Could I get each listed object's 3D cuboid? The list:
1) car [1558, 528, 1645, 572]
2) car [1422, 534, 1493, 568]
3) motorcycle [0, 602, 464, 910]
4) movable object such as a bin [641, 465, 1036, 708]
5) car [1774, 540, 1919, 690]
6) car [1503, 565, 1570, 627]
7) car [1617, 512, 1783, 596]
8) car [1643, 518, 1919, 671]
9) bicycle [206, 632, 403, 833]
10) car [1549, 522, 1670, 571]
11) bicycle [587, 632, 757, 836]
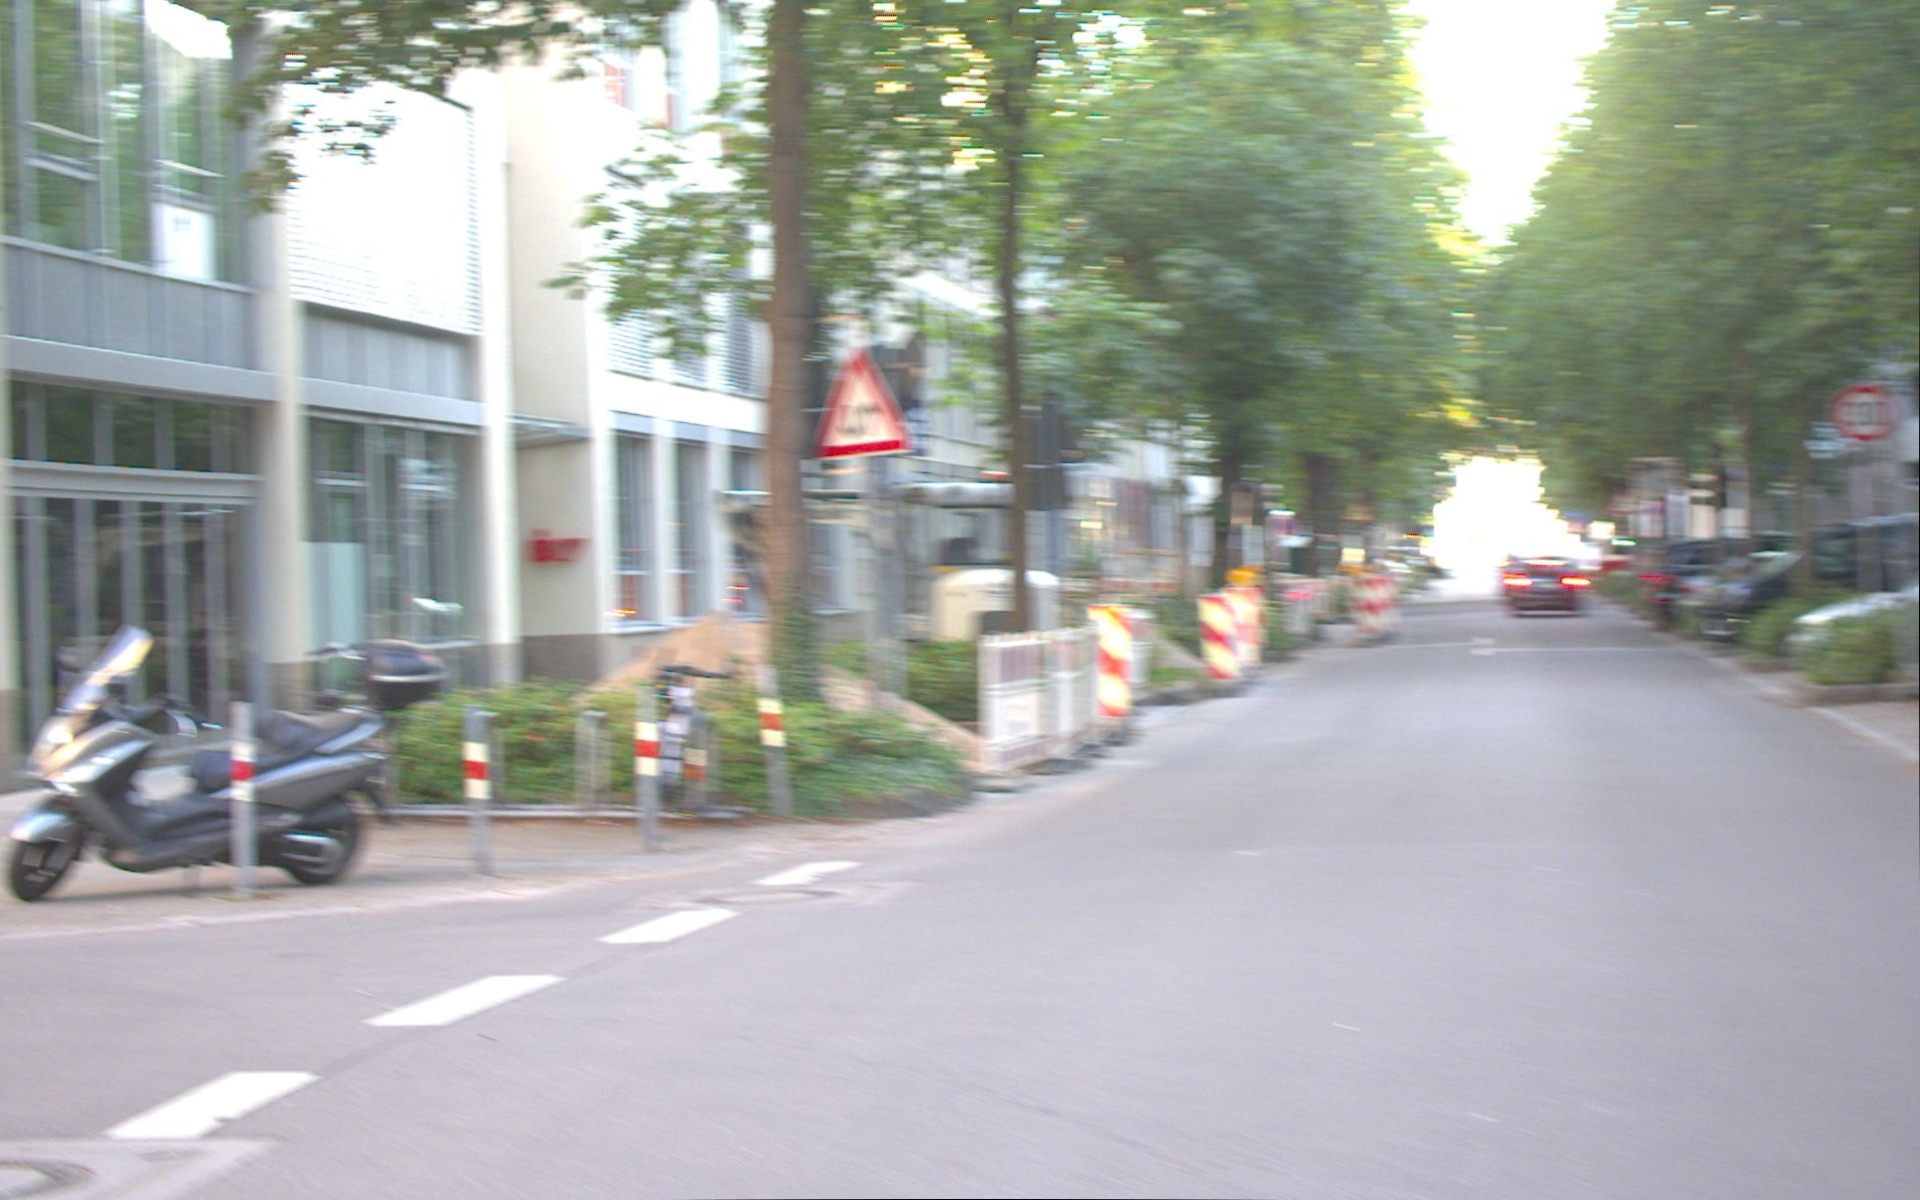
[{"bbox_3d":[30.662,-2.386,164.321,3.989,2.007,1.999,-2,1,11],"label":"car"},{"bbox_3d":[29.878,-2.948,206.414,3.987,1.908,1.777,-1,1,1],"label":"car"},{"bbox_3d":[-3.841,0.765,17.775,2.372,1.436,0.802,-2,1,-31],"label":"motorcycle"},{"bbox_3d":[-1.197,-0.149,35.629,3.666,2.325,2.583,-2,1,7],"label":"movable object such as a bin"},{"bbox_3d":[11.299,0.108,37.859,4.438,1.586,1.628,-2,1,11],"label":"car"},{"bbox_3d":[14.121,-0.110,84.319,1.501,1.411,3.712,-2,1,9],"label":"car"},{"bbox_3d":[18.983,-1.181,88.321,3.988,2.007,1.999,-2,1,8],"label":"car"},{"bbox_3d":[12.547,-0.104,50.086,4.973,2.080,1.737,-2,1,9],"label":"car"},{"bbox_3d":[-4.059,0.801,21.409,0.601,1.114,1.799,-2,1,9],"label":"bicycle"},{"bbox_3d":[22.848,-1.883,121.024,3.988,1.592,2.000,-1,1,6],"label":"car"},{"bbox_3d":[-1.741,0.795,21.055,0.601,1.114,1.799,-2,1,9],"label":"bicycle"}]
